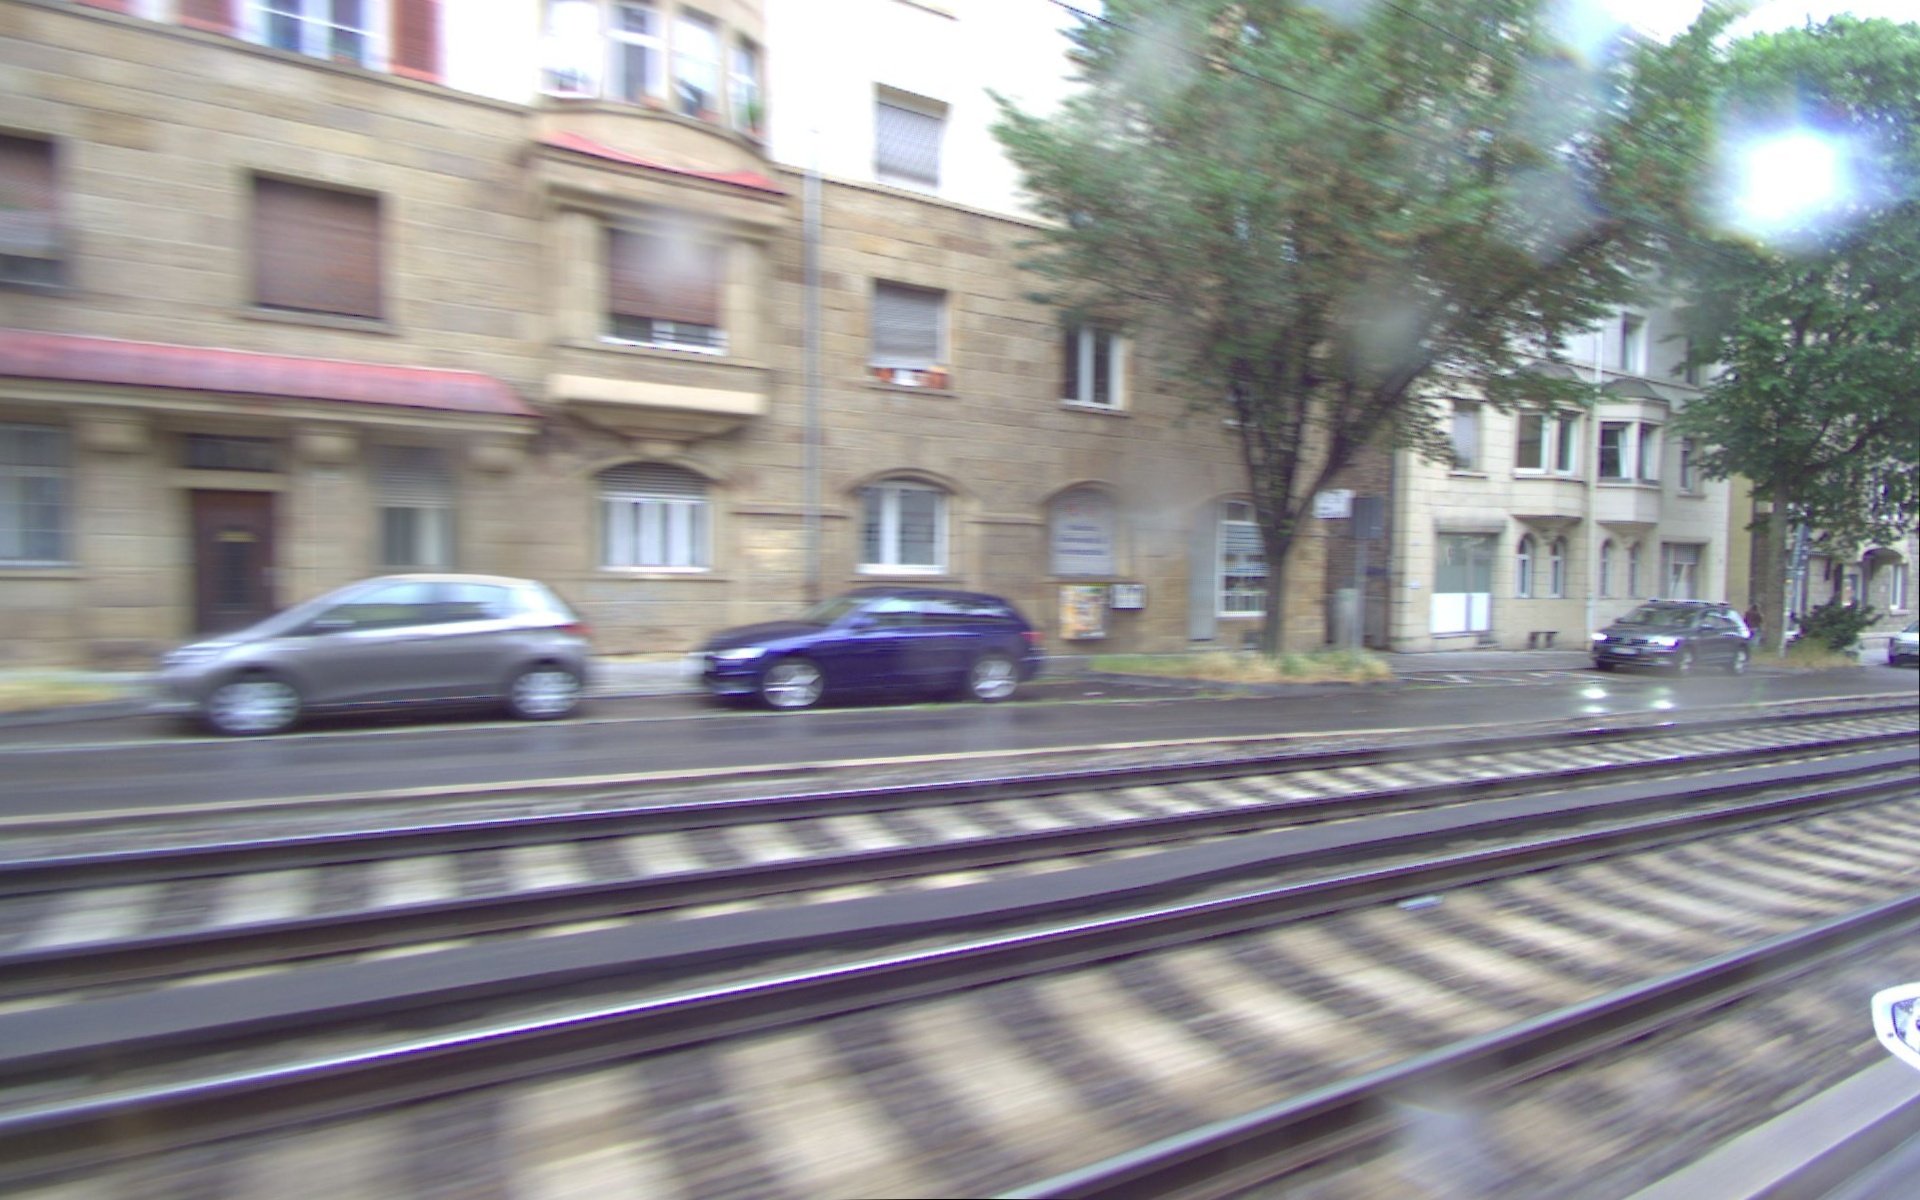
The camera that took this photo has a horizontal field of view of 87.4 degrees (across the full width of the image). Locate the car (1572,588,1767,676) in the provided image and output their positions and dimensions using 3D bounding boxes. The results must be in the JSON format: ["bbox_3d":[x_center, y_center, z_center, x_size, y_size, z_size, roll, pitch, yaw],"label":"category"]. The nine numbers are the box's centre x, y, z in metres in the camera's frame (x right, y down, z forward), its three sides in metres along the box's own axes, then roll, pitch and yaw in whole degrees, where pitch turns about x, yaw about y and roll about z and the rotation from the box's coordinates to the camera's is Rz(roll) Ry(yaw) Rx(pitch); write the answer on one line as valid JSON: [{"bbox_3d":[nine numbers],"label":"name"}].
[{"bbox_3d":[16.733,0.708,23.626,4.724,1.765,1.942,1,4,-31],"label":"car"}]

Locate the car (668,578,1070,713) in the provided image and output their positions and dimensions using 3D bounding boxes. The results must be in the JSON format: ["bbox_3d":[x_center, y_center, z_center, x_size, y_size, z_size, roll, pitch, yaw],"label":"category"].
[{"bbox_3d":[-1.084,0.569,13.065,4.922,1.479,1.771,2,0,-32],"label":"car"}]

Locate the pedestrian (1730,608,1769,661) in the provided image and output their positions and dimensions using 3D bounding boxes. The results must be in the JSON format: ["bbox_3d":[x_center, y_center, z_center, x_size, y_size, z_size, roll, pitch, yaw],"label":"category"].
[{"bbox_3d":[25.754,1.128,32.774,0.761,1.685,0.725,1,1,-30],"label":"pedestrian"}]

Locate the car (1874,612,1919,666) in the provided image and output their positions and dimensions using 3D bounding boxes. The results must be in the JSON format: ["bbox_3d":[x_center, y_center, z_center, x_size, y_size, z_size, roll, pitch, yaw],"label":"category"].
[{"bbox_3d":[31.461,1.243,32.234,4.278,1.627,1.951,1,1,-31],"label":"car"}]

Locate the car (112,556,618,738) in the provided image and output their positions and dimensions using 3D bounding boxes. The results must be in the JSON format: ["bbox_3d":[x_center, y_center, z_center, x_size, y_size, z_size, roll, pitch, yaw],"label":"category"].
[{"bbox_3d":[-5.848,0.458,10.340,4.129,1.549,1.681,2,0,-31],"label":"car"}]
